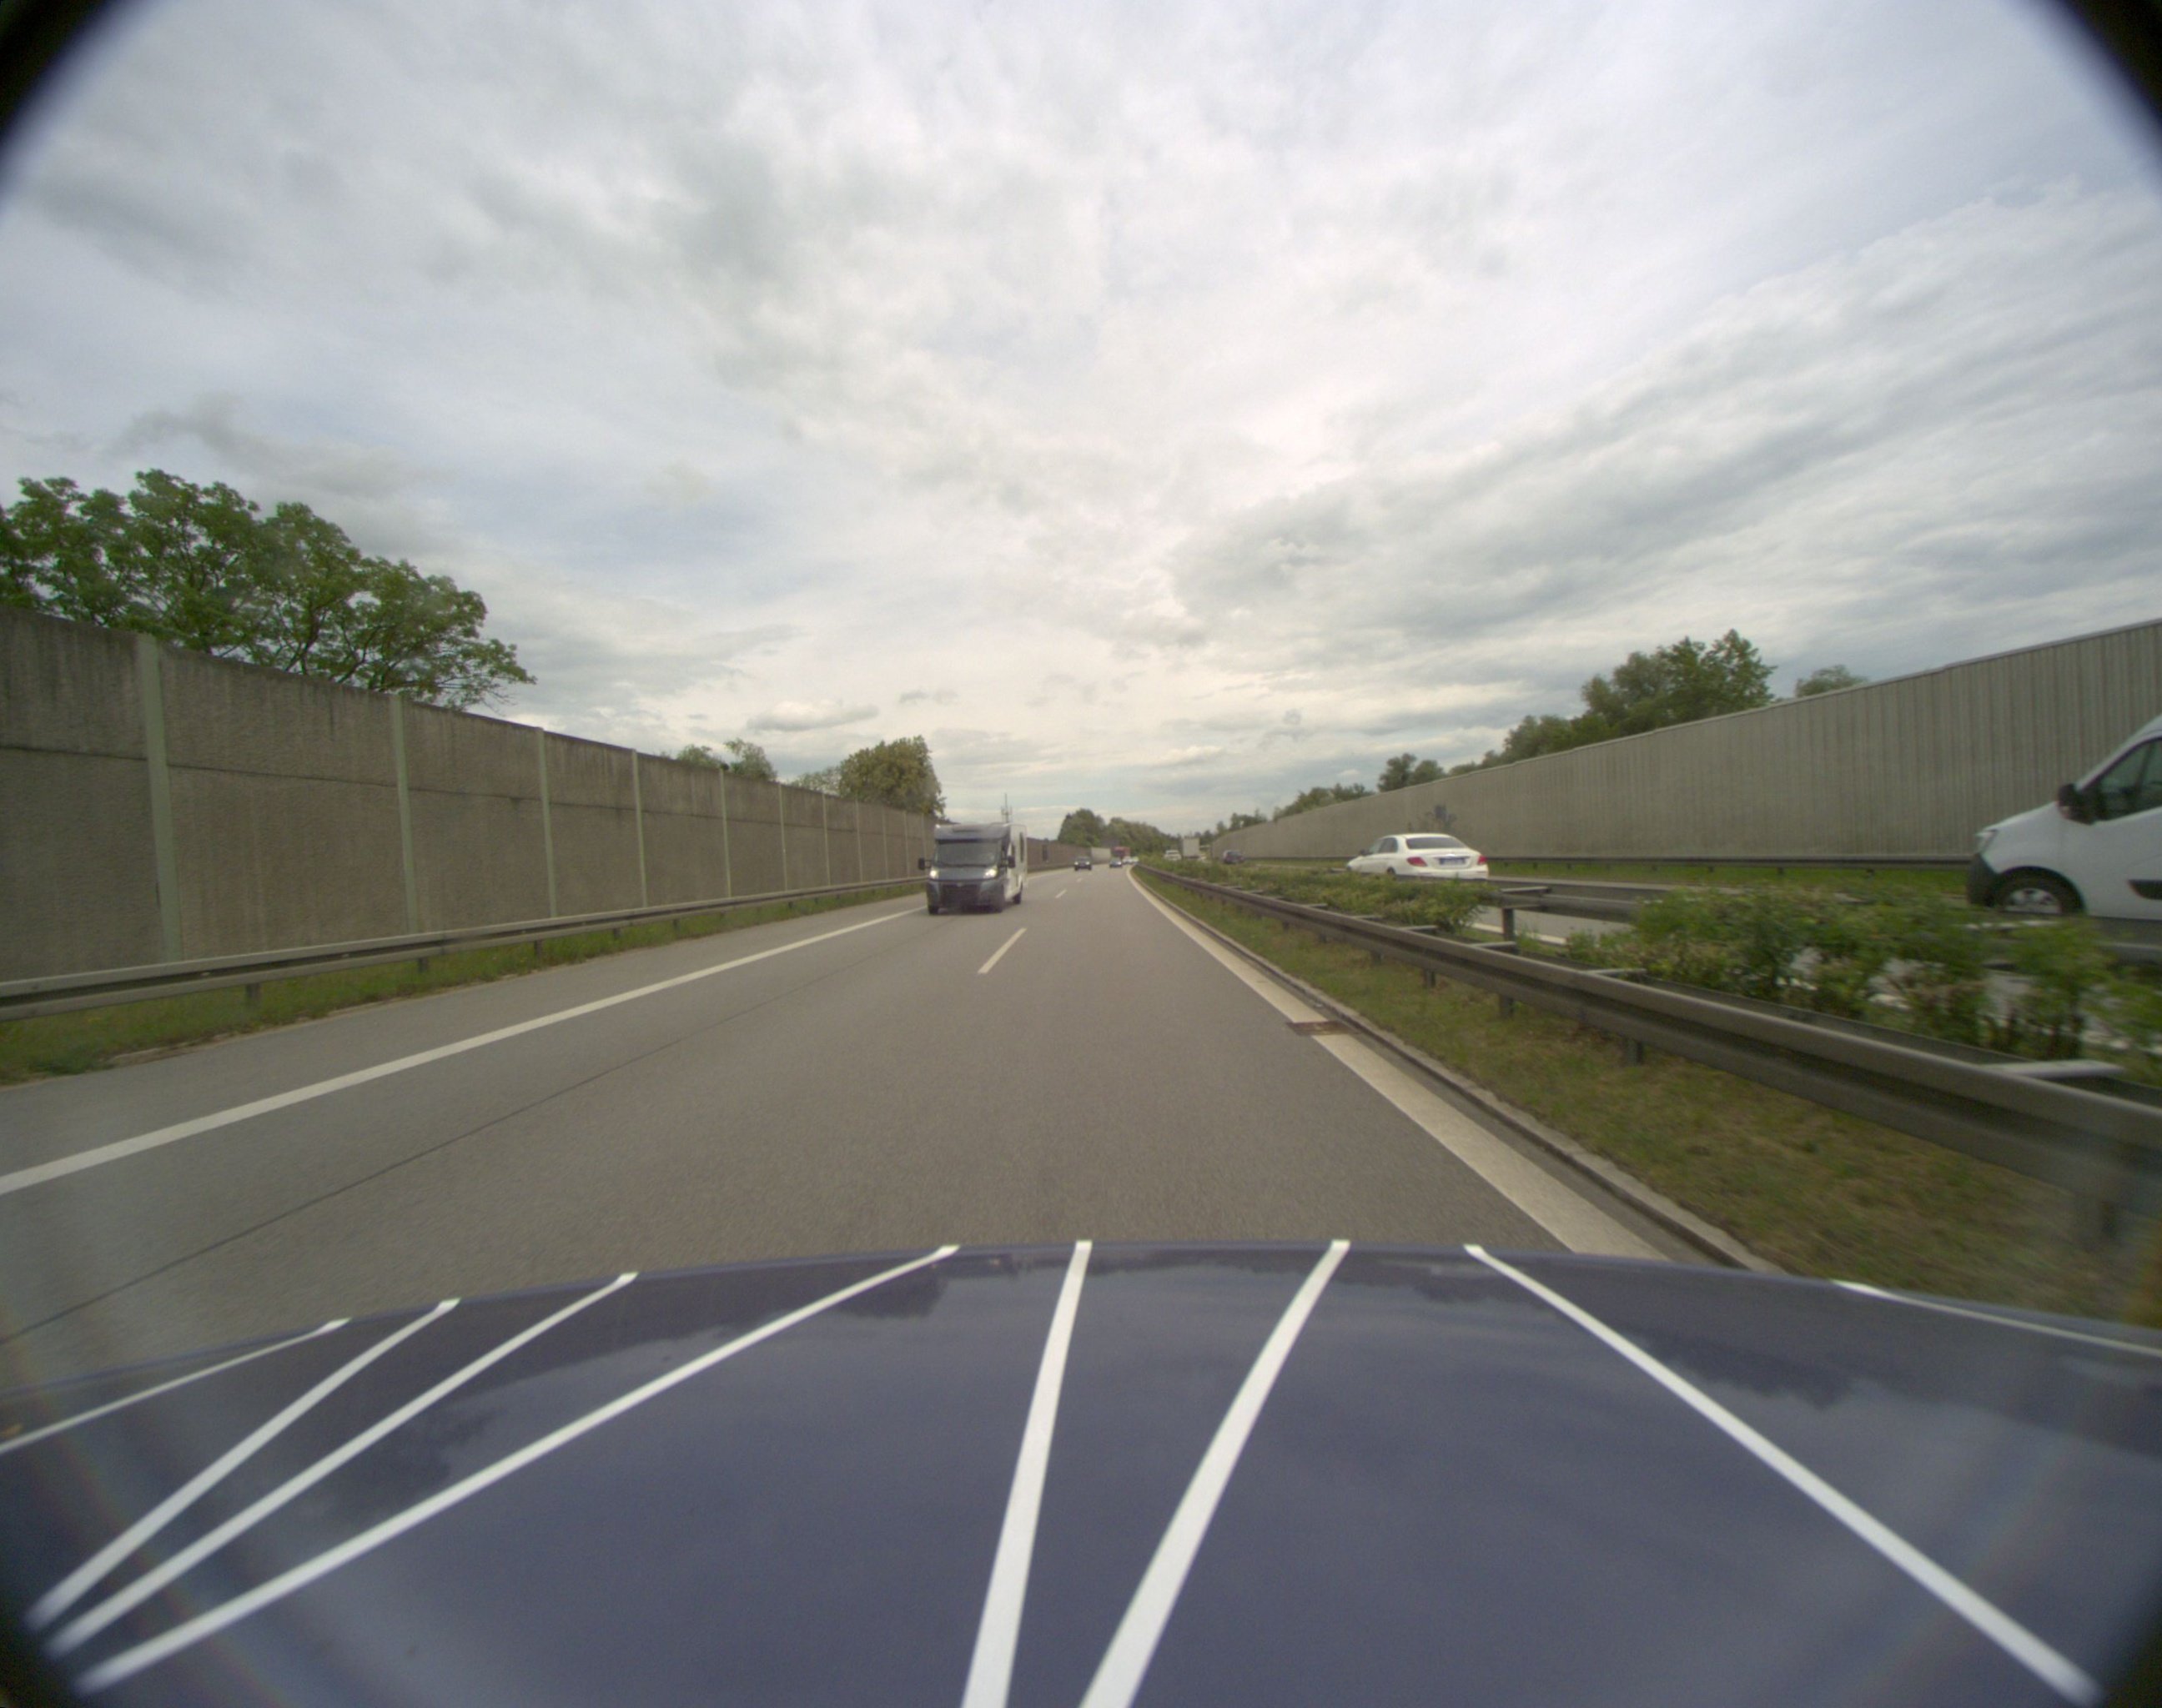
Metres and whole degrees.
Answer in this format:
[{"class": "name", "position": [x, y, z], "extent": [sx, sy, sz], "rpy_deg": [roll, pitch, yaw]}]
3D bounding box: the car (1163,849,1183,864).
[{"class": "car", "position": [11.011, 0.290, 91.035], "extent": [1.968, 1.660, 4.925], "rpy_deg": [-3, 0, 3]}]

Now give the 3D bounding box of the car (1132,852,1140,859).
[{"class": "car", "position": [13.212, 0.367, 182.907], "extent": [1.889, 1.608, 4.001], "rpy_deg": [-1, 0, 5]}]

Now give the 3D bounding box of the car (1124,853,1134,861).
[{"class": "car", "position": [9.607, 0.609, 152.295], "extent": [1.889, 1.608, 4.001], "rpy_deg": [-1, 0, 4]}]

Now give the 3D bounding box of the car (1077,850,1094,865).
[{"class": "car", "position": [0.548, 0.422, 87.408], "extent": [1.889, 1.608, 4.000], "rpy_deg": [-1, 0, 1]}]

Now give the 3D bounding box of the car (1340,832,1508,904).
[{"class": "car", "position": [7.859, 0.280, 18.022], "extent": [1.810, 1.406, 4.968], "rpy_deg": [-3, 0, 1]}]

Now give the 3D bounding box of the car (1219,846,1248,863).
[{"class": "car", "position": [13.188, 0.027, 66.063], "extent": [1.726, 1.409, 4.555], "rpy_deg": [-1, 0, 2]}]

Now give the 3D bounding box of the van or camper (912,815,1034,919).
[{"class": "van or camper", "position": [-3.109, 0.341, 23.837], "extent": [2.435, 2.681, 7.226], "rpy_deg": [-2, 0, 2]}]

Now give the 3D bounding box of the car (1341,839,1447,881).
[{"class": "car", "position": [11.619, 0.196, 28.621], "extent": [1.998, 1.356, 4.968], "rpy_deg": [-3, 0, 1]}]

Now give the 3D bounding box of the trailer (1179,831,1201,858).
[{"class": "trailer", "position": [18.307, -1.587, 128.616], "extent": [2.987, 4.215, 14.184], "rpy_deg": [-2, 0, 6]}]

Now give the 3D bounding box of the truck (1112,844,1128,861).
[{"class": "truck", "position": [9.608, -0.430, 187.158], "extent": [2.932, 4.068, 11.348], "rpy_deg": [-2, 0, 7]}]

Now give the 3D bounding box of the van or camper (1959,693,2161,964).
[{"class": "van or camper", "position": [10.736, -0.239, 5.253], "extent": [1.999, 2.427, 6.308], "rpy_deg": [-1, 0, -1]}]

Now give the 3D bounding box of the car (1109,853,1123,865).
[{"class": "car", "position": [4.928, 0.735, 107.304], "extent": [1.889, 1.608, 4.001], "rpy_deg": [-1, 0, 4]}]

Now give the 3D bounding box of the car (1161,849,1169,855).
[{"class": "car", "position": [21.792, -0.558, 198.350], "extent": [1.935, 1.539, 4.568], "rpy_deg": [-2, 0, 5]}]
